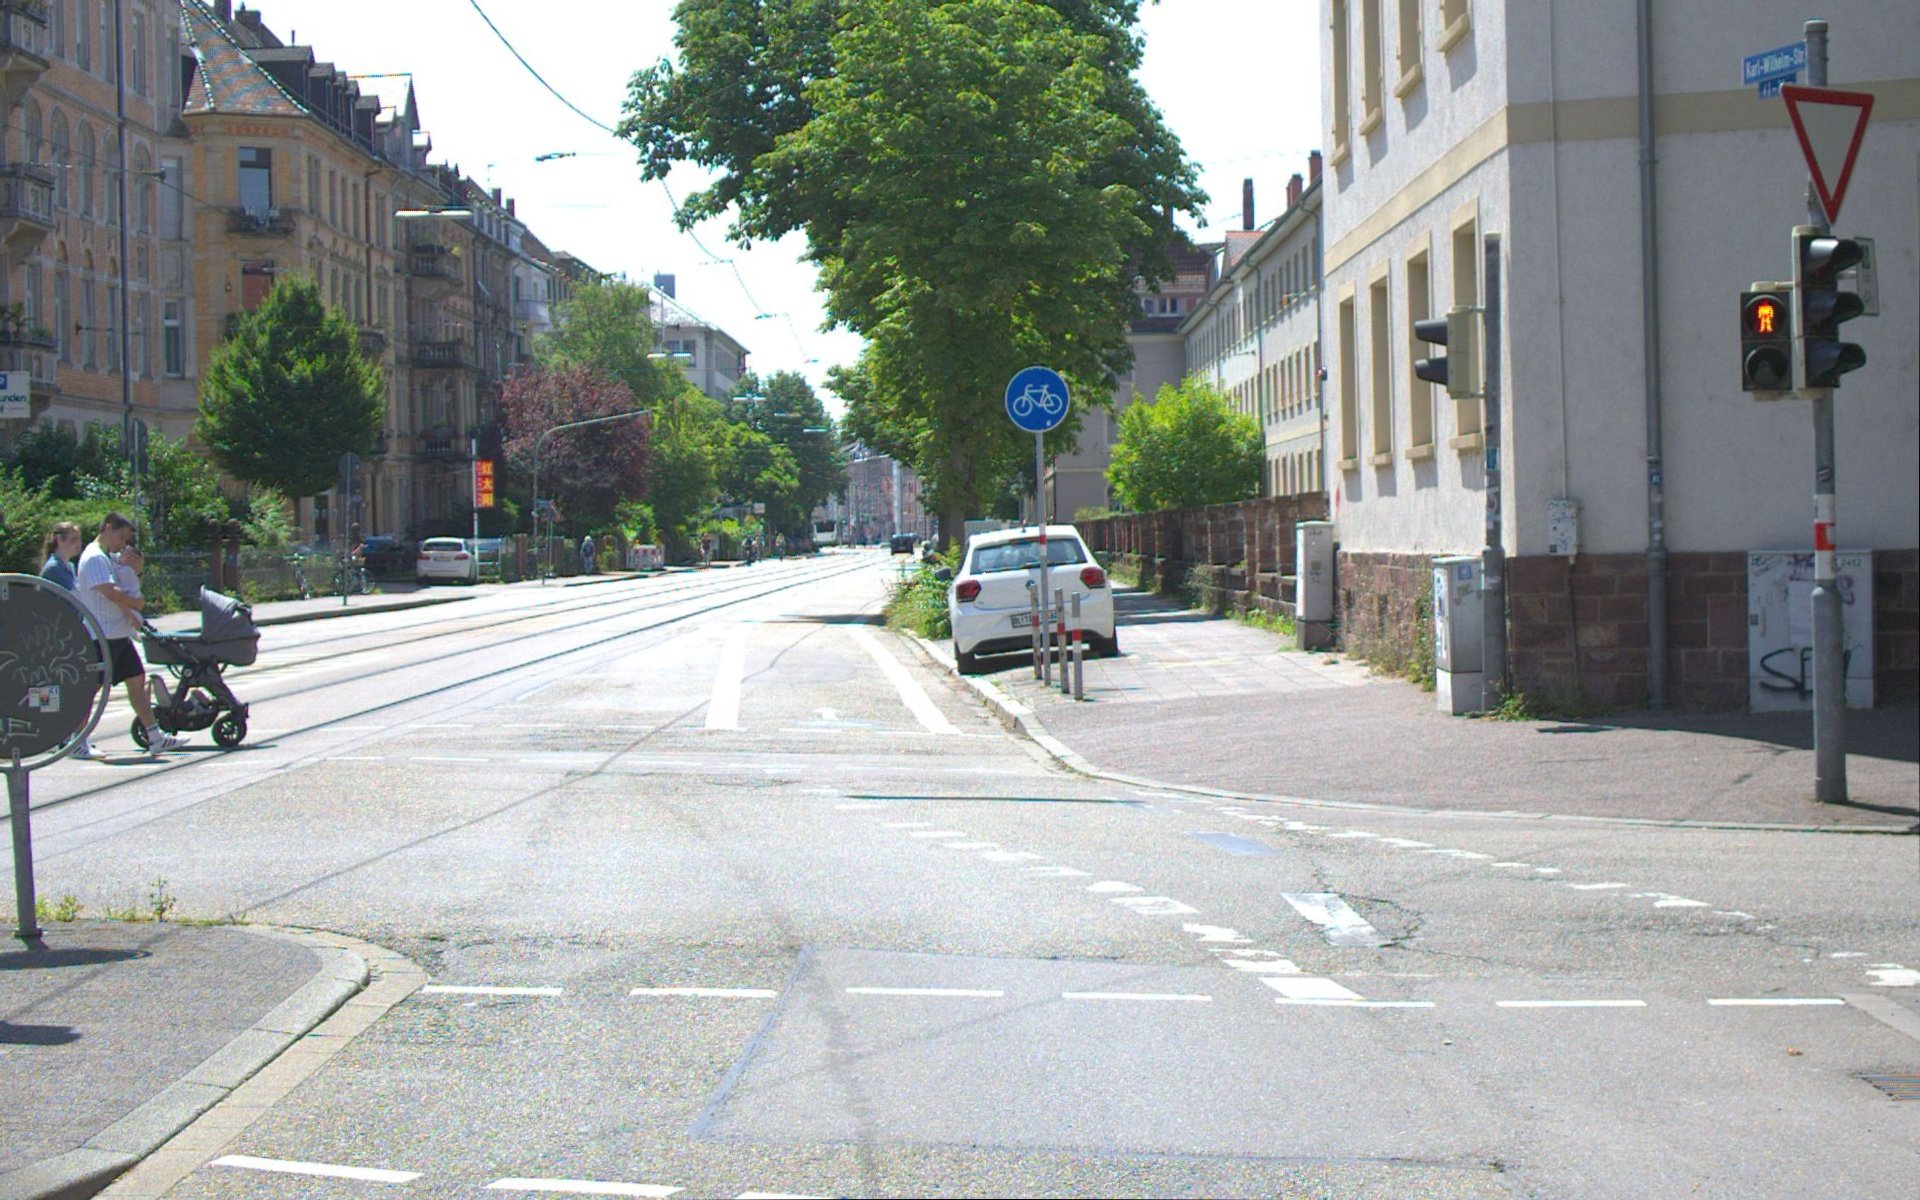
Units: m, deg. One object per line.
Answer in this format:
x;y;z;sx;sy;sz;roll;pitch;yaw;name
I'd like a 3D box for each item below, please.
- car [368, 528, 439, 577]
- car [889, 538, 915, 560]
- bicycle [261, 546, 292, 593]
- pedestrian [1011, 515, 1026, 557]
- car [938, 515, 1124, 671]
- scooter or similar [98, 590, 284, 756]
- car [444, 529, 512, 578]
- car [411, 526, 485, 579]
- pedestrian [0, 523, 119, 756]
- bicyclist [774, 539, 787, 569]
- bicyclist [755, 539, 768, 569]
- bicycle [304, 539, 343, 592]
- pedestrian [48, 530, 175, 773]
-20.027;-1.715;123.909;1.919;1.709;4.000;1;1;-1;car
-4.186;-3.673;246.728;1.825;1.514;4.000;1;1;-1;car
-15.909;-0.710;80.032;0.677;1.061;1.919;-1;1;-11;bicycle
2.184;-2.397;129.205;0.521;1.557;0.573;-1;1;-1;pedestrian
0.718;-0.089;37.337;1.815;1.511;4.000;-3;1;-1;car
-5.499;0.518;24.618;1.201;1.151;0.558;1;0;-1;scooter or similar
-17.341;-1.677;123.836;1.919;1.709;4.000;1;1;-1;car
-17.197;-1.591;115.571;1.919;1.709;4.000;1;1;-1;car
-6.460;0.274;24.630;0.675;1.640;0.558;1;0;6;pedestrian
-11.000;-2.836;210.473;0.727;1.812;1.079;1;0;1;bicyclist
-12.177;-2.835;210.862;0.727;1.812;1.079;1;0;1;bicyclist
-15.667;-0.861;84.675;0.677;1.274;1.919;-1;1;-3;bicycle
-5.825;0.347;23.621;0.675;1.640;0.558;1;0;6;pedestrian
